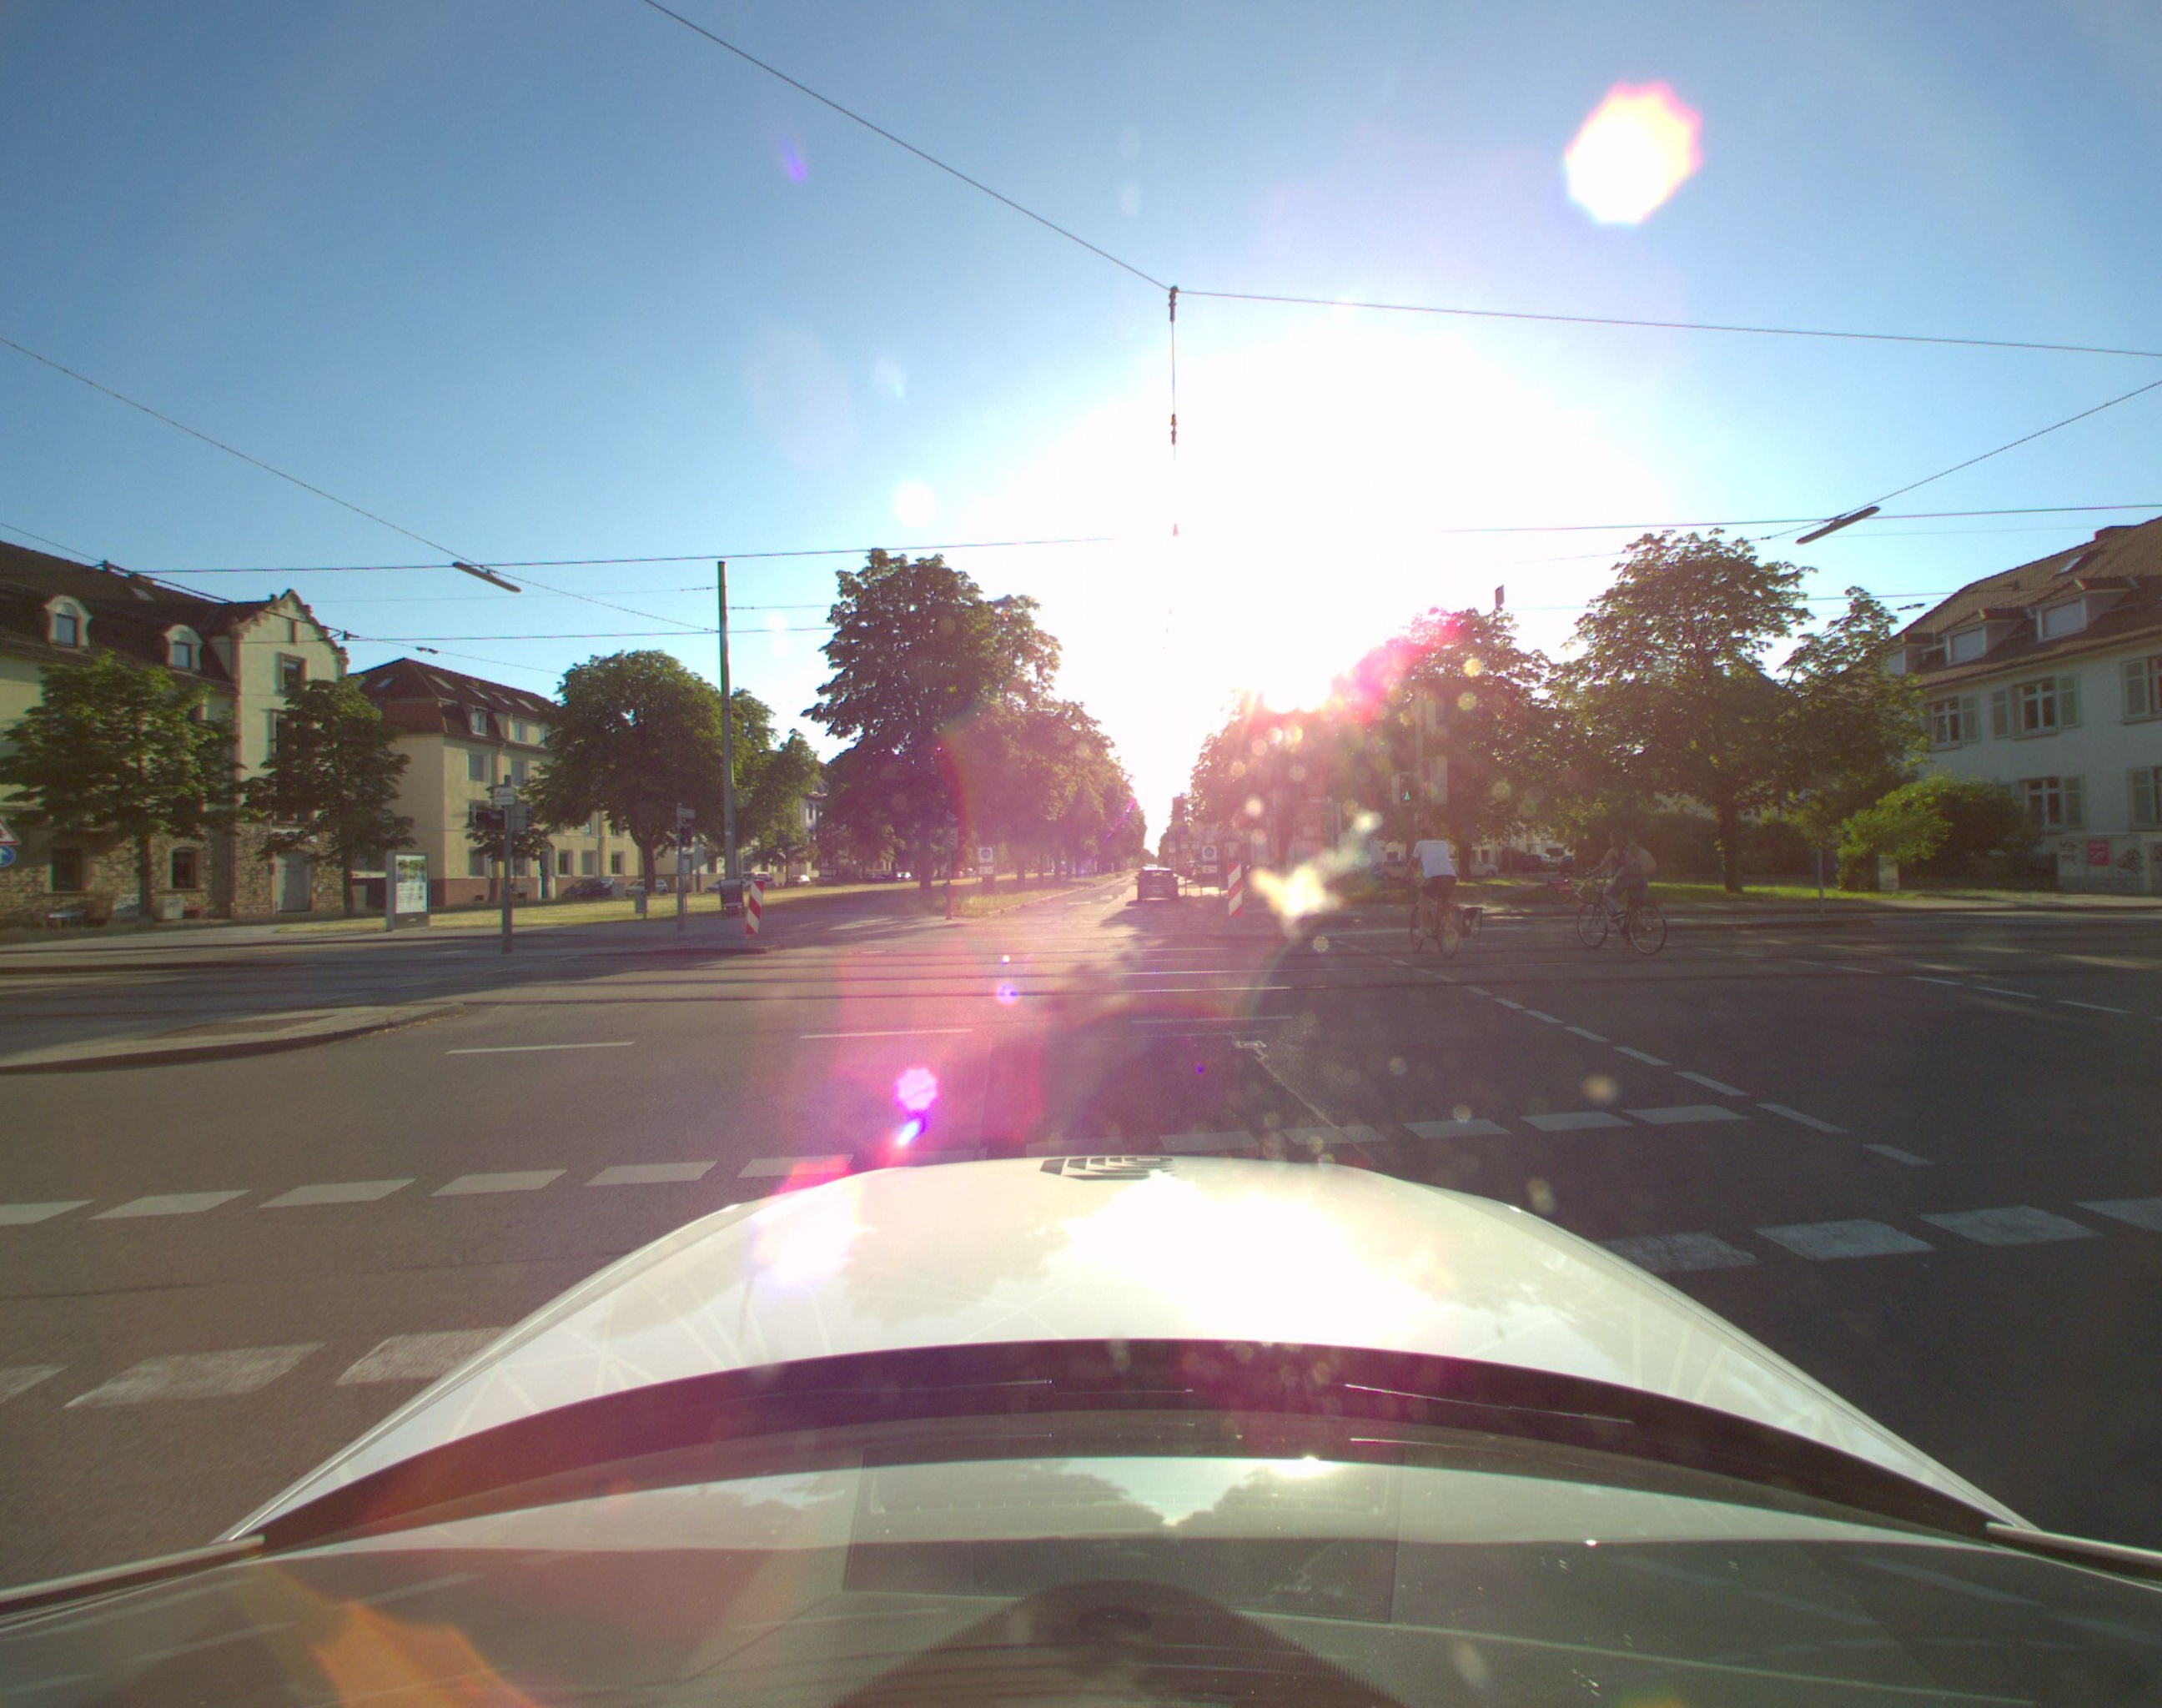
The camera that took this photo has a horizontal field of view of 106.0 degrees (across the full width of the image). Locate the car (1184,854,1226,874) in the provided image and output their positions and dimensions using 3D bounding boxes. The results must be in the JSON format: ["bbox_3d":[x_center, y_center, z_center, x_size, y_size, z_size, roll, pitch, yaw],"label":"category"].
[{"bbox_3d":[12.746,1.064,83.995,3.973,1.823,1.759,-2,-7,0],"label":"car"}]

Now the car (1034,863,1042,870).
[{"bbox_3d":[-13.098,3.822,248.329,1.646,1.939,3.571,1,-3,5],"label":"car"}]

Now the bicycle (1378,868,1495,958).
[{"bbox_3d":[5.029,0.796,11.657,0.572,1.184,1.898,1,-1,-10],"label":"bicycle"}]

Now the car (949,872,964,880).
[{"bbox_3d":[-25.848,4.534,168.715,1.983,1.659,4.363,1,-2,7],"label":"car"}]

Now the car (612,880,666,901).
[{"bbox_3d":[-36.961,3.042,68.244,1.983,1.659,4.007,1,-2,7],"label":"car"}]

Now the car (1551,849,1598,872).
[{"bbox_3d":[36.378,0.493,60.028,4.023,1.552,1.975,-1,-1,-44],"label":"car"}]

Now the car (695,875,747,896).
[{"bbox_3d":[-31.211,2.710,70.741,1.983,1.659,4.578,1,-2,7],"label":"car"}]

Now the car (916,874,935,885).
[{"bbox_3d":[-25.132,4.135,131.897,1.802,1.781,4.128,1,-2,6],"label":"car"}]

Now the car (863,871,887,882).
[{"bbox_3d":[-30.906,3.414,122.431,1.983,1.659,4.382,1,-2,7],"label":"car"}]

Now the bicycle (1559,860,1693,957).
[{"bbox_3d":[7.651,0.714,11.558,0.490,1.183,1.962,0,2,-3],"label":"bicycle"}]

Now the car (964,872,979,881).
[{"bbox_3d":[-21.868,4.441,162.522,2.013,1.659,3.989,1,-2,6],"label":"car"}]

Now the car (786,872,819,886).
[{"bbox_3d":[-33.680,3.065,98.577,1.983,1.659,4.578,1,-2,7],"label":"car"}]

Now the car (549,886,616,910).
[{"bbox_3d":[-37.834,3.323,61.928,1.983,1.736,4.319,1,-2,7],"label":"car"}]

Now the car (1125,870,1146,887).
[{"bbox_3d":[4.678,2.090,69.393,1.701,1.359,4.208,1,-2,5],"label":"car"}]

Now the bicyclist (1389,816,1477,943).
[{"bbox_3d":[5.017,0.364,11.652,0.814,1.732,0.891,1,-2,-10],"label":"bicyclist"}]

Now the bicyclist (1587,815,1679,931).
[{"bbox_3d":[7.772,0.270,11.509,0.709,1.562,0.894,1,-2,3],"label":"bicyclist"}]

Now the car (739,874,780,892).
[{"bbox_3d":[-30.286,2.691,76.877,1.788,1.554,4.423,1,0,4],"label":"car"}]

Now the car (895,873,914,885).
[{"bbox_3d":[-30.027,4.279,138.780,1.985,2.014,4.003,1,-2,4],"label":"car"}]

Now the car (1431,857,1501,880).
[{"bbox_3d":[25.823,0.986,54.691,3.908,1.524,1.523,0,-3,0],"label":"car"}]

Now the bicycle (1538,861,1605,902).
[{"bbox_3d":[13.722,0.771,22.805,1.511,1.089,0.469,-2,-2,13],"label":"bicycle"}]

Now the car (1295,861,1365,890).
[{"bbox_3d":[16.883,1.461,55.366,4.221,1.875,2.033,-1,-2,4],"label":"car"}]

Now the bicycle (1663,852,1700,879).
[{"bbox_3d":[30.246,0.593,41.061,0.447,1.239,1.954,2,-5,2],"label":"bicycle"}]

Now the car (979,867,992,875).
[{"bbox_3d":[-21.418,3.873,182.258,1.984,1.659,4.576,-1,-1,5],"label":"car"}]

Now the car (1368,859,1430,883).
[{"bbox_3d":[21.269,1.162,54.554,3.542,1.516,1.605,-1,-2,-1],"label":"car"}]

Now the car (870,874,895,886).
[{"bbox_3d":[-27.122,3.564,111.523,1.870,1.674,4.321,1,-2,6],"label":"car"}]

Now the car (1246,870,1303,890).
[{"bbox_3d":[14.692,1.993,62.054,3.968,1.447,1.718,-1,-2,4],"label":"car"}]

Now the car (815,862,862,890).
[{"bbox_3d":[-28.517,2.562,96.185,2.380,3.131,7.864,1,-1,5],"label":"car"}]

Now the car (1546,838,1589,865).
[{"bbox_3d":[45.306,-0.236,75.793,4.542,2.337,2.088,2,-2,-41],"label":"car"}]

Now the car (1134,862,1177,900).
[{"bbox_3d":[3.323,1.178,35.586,1.716,1.511,4.548,1,-2,7],"label":"car"}]
